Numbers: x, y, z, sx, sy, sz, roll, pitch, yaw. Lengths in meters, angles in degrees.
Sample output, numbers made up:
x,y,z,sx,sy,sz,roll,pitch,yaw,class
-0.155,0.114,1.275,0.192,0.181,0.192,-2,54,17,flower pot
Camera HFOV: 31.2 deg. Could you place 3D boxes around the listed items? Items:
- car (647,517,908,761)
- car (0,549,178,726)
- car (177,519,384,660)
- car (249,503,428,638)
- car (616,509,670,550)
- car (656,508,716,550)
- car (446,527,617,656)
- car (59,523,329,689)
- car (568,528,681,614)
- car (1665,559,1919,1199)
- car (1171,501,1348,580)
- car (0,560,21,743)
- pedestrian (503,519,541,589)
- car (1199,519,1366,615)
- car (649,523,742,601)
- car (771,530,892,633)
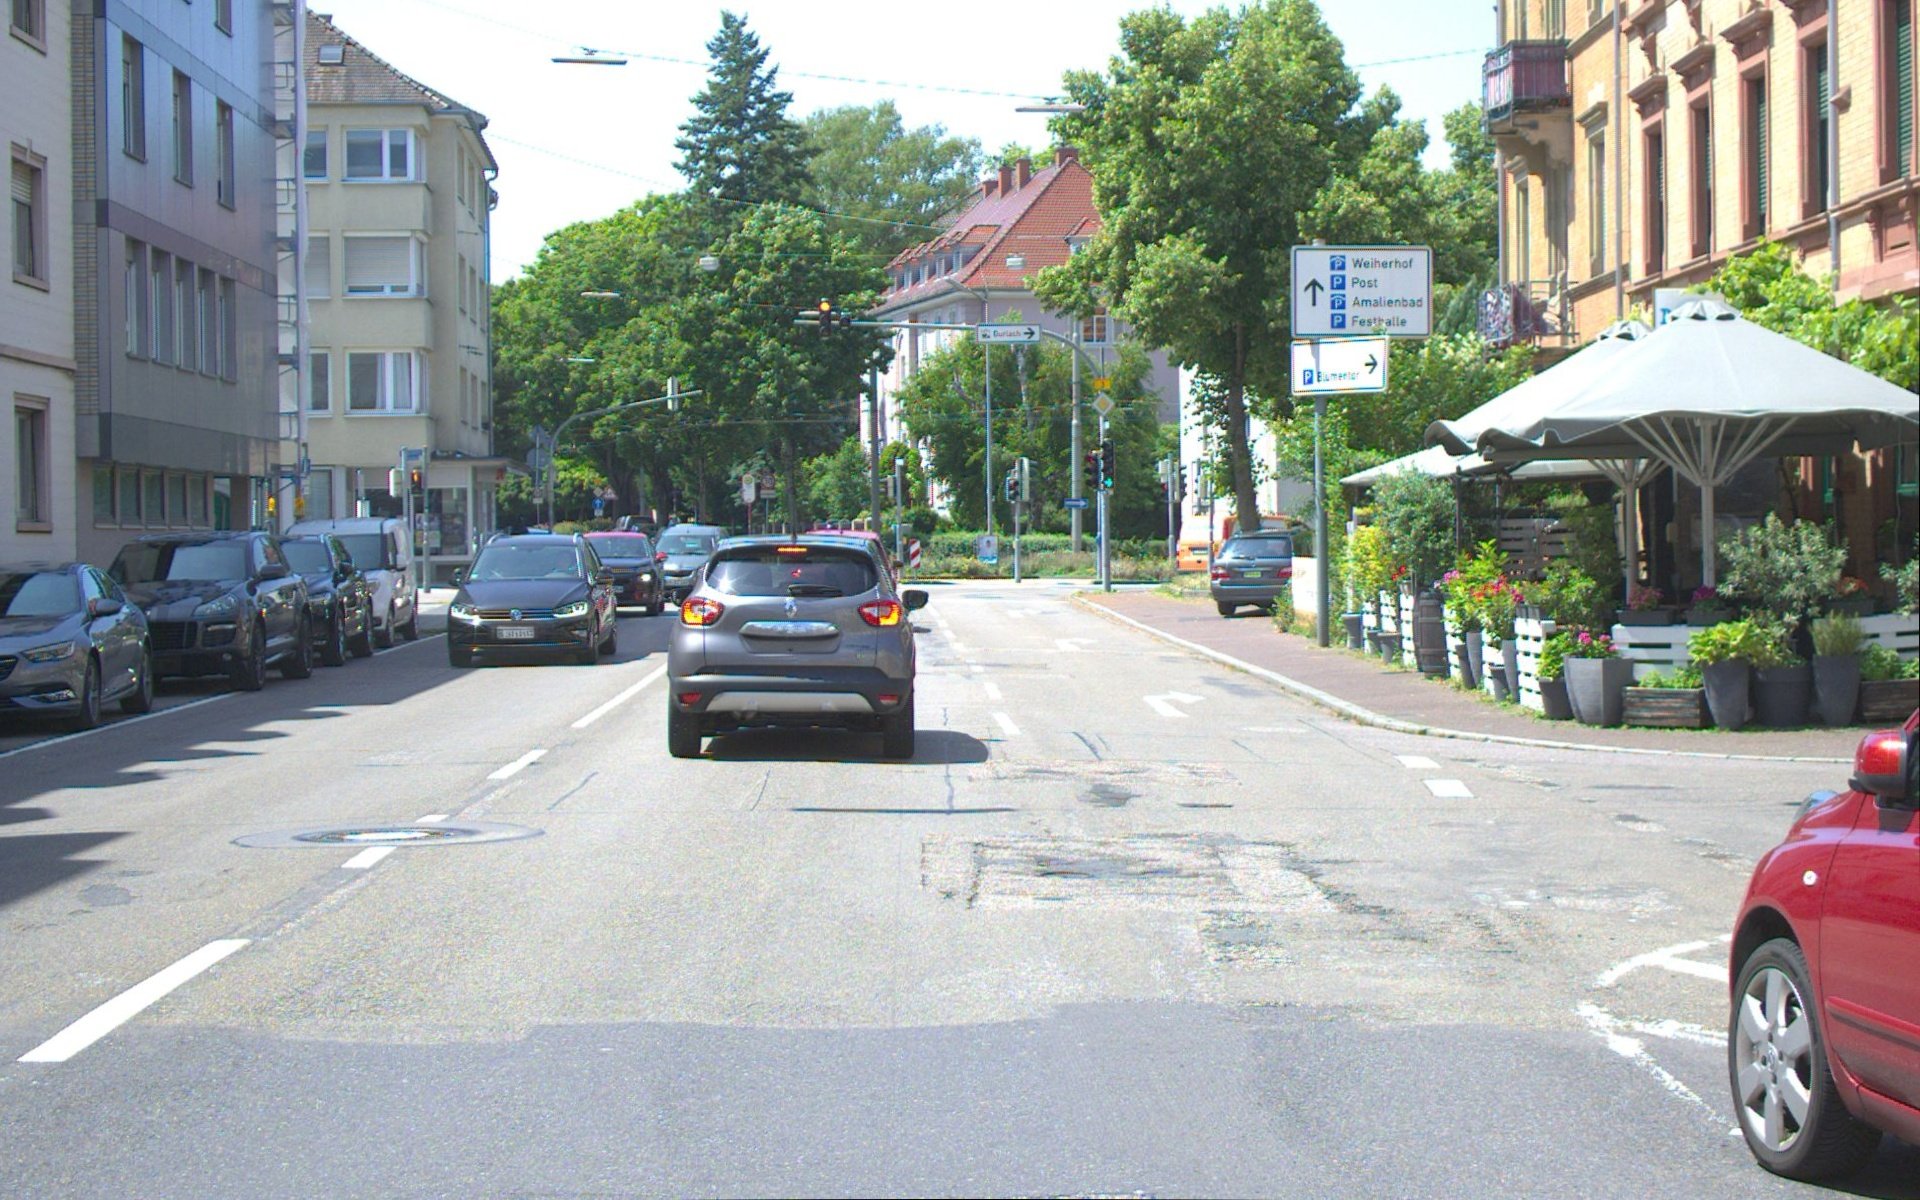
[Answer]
x,y,z,sx,sy,sz,roll,pitch,yaw,class
-1.275,0.219,25.470,1.754,1.626,4.000,1,1,-1,car
-8.308,0.313,30.527,1.864,1.401,4.838,-4,1,-4,car
-8.502,-0.169,43.382,1.884,1.635,4.664,-1,1,-3,car
-8.917,-0.451,49.665,1.913,1.819,4.789,-1,1,-3,car
-15.307,-3.429,165.881,1.993,1.900,4.001,1,1,-14,car
-12.178,-3.145,152.766,1.993,1.801,4.001,1,1,-14,car
-5.273,-0.142,42.723,1.760,1.489,4.246,-1,1,-3,car
-8.201,0.015,37.234,1.884,1.635,4.818,-1,1,-1,car
-6.044,-0.551,62.225,1.701,1.473,4.134,-1,1,-1,car
2.890,0.697,7.174,1.757,1.473,3.784,2,1,-4,car
7.711,-1.531,88.325,4.490,1.970,1.999,-2,1,-42,car
-8.200,0.478,24.878,1.864,1.401,4.332,-4,1,-5,car
-12.127,-1.271,95.110,0.935,1.925,0.977,0,1,-13,pedestrian
5.866,-0.629,61.991,1.836,1.543,5.152,0,2,19,car
-5.565,-0.828,72.641,1.701,1.569,4.312,-1,1,-1,car
-2.014,-0.326,54.882,1.799,1.552,4.038,1,1,-1,car
